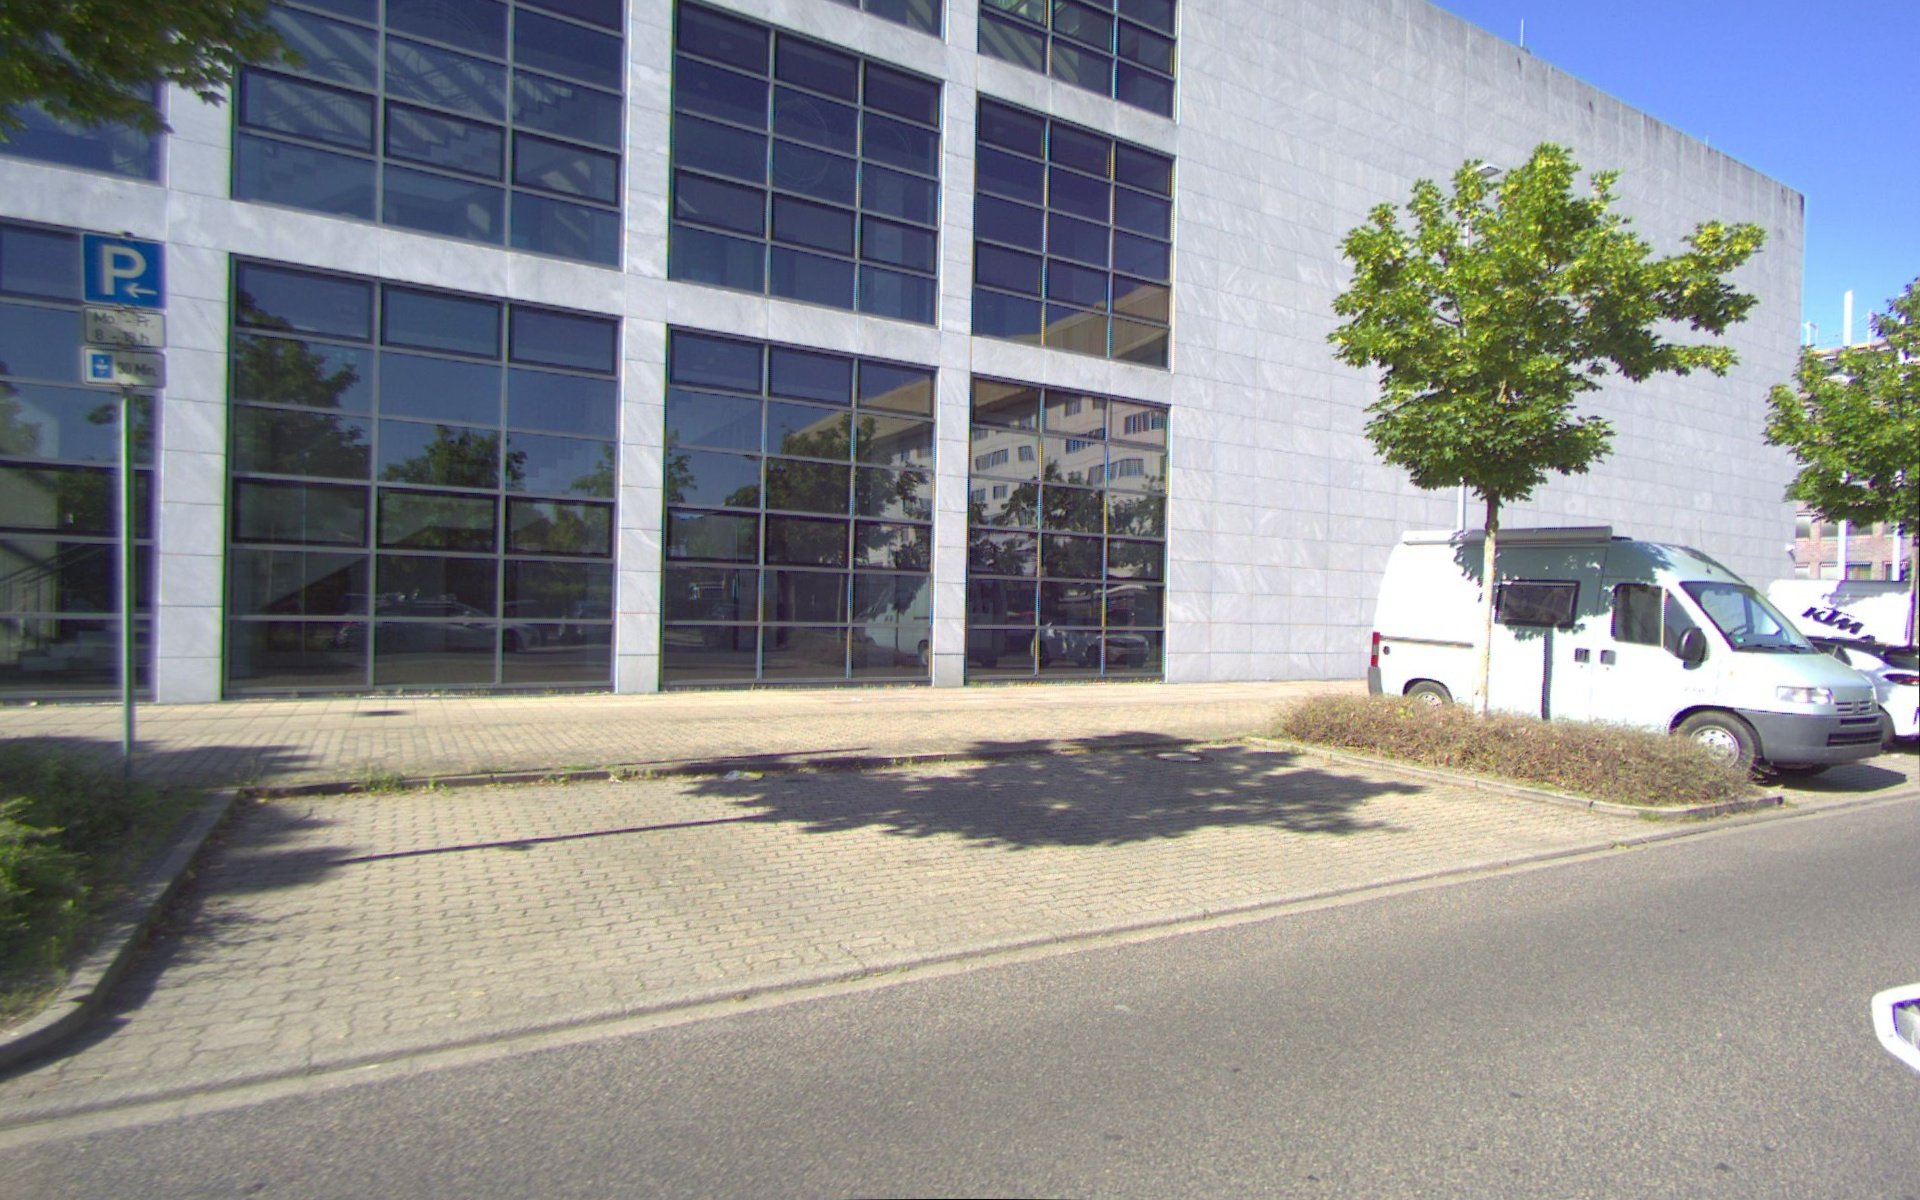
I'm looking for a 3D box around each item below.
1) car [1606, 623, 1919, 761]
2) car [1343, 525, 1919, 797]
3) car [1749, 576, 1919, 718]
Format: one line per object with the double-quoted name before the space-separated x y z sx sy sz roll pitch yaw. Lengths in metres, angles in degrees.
"car" 11.810 1.196 14.452 1.825 1.492 3.815 2 1 -27
"car" 7.394 0.485 11.845 2.097 2.451 5.226 2 1 -28
"car" 17.612 0.846 17.651 1.962 2.442 5.529 1 1 -27
